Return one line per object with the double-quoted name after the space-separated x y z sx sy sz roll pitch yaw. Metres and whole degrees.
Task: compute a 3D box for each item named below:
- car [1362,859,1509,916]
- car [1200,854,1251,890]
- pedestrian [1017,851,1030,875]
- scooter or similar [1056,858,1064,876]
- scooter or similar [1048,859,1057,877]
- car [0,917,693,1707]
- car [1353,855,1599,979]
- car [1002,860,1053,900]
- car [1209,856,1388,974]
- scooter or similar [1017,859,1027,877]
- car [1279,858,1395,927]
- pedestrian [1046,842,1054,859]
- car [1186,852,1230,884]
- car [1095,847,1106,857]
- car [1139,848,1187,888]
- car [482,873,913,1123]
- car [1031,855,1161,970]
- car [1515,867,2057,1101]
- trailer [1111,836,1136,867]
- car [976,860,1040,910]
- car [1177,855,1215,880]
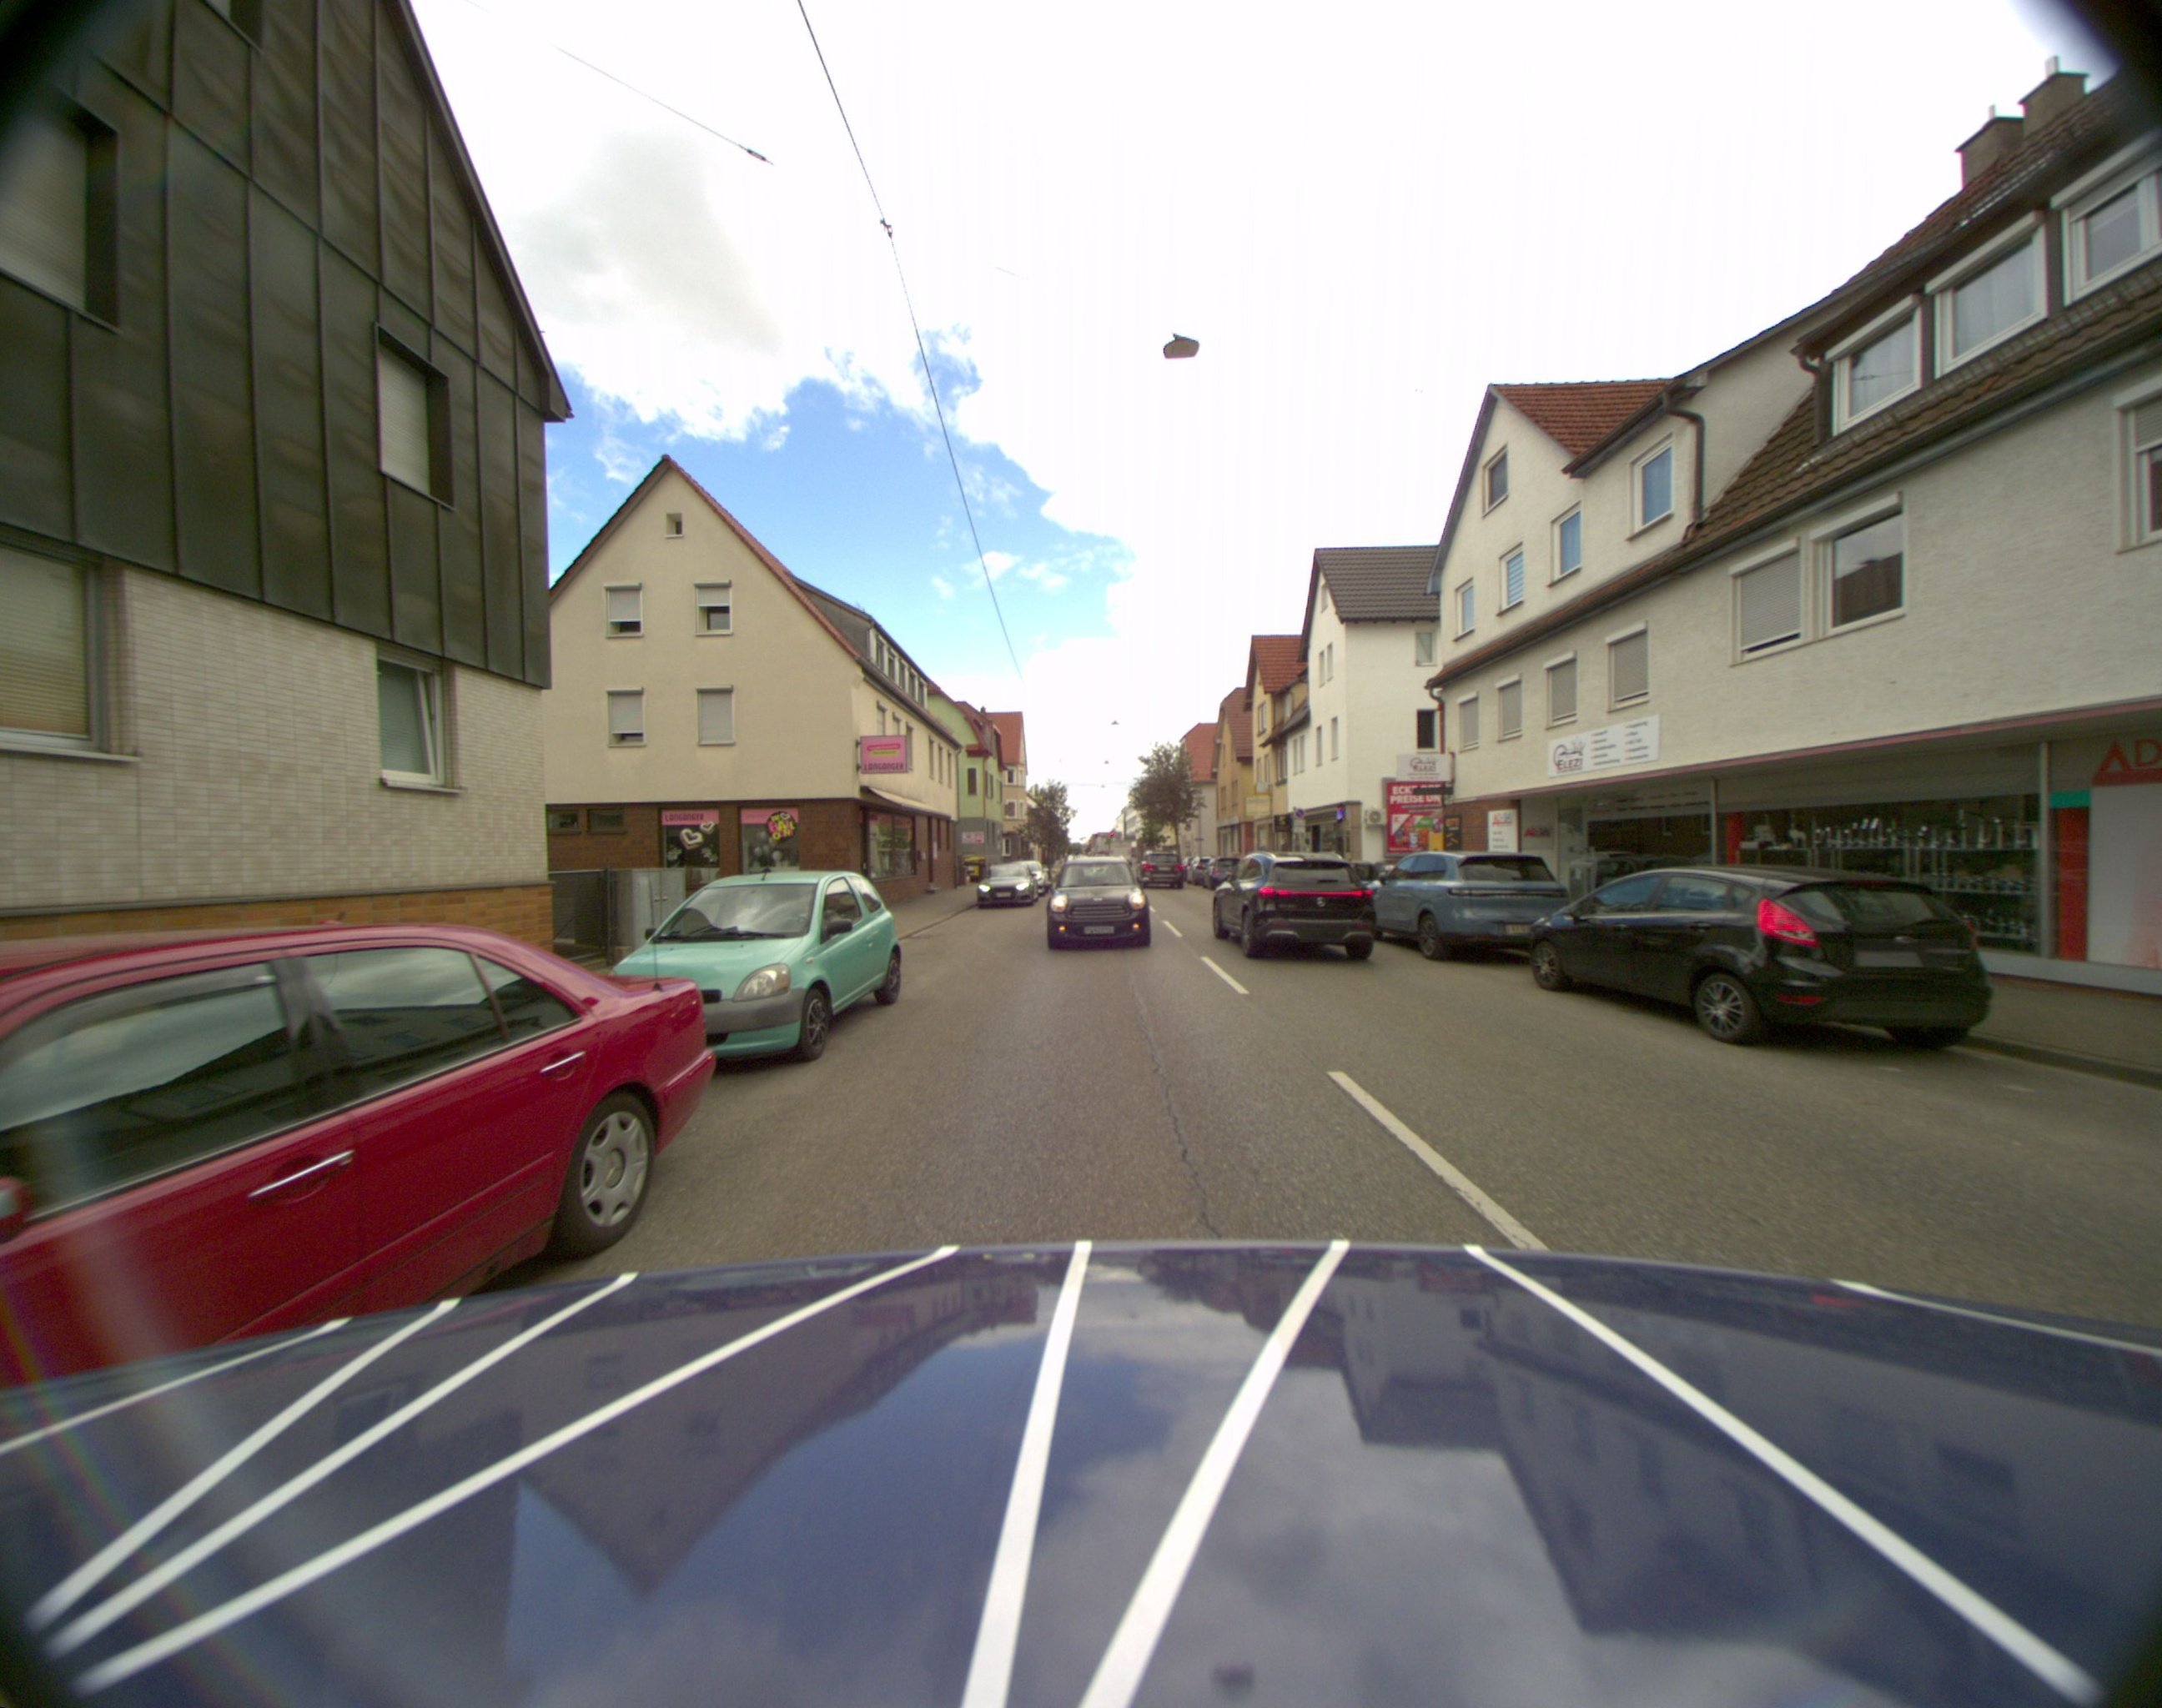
11.813 1.077 25.539 3.997 1.692 2.000 -2 1 0 "car"
6.476 0.781 34.332 1.686 1.484 3.591 1 0 2 "car"
-4.156 0.616 54.899 0.752 1.710 0.900 -2 1 1 "pedestrian"
-1.500 0.959 55.087 0.503 1.228 1.942 -2 1 0 "scooter or similar"
-2.036 0.977 55.087 0.503 1.228 1.942 -2 1 0 "scooter or similar"
-2.823 1.075 1.543 1.759 1.437 4.454 -2 0 -1 "car"
6.001 0.839 12.234 1.807 1.590 4.304 1 0 2 "car"
-2.168 1.031 31.755 1.836 1.437 4.331 -2 0 -1 "car"
3.339 0.850 12.528 1.799 1.569 4.192 1 0 1 "car"
-4.199 0.979 53.988 0.591 1.225 0.891 -2 1 0 "scooter or similar"
6.238 0.884 18.949 1.686 1.490 3.775 1 0 2 "car"
-3.750 -0.466 93.135 0.826 2.062 1.011 2 1 3 "pedestrian"
6.617 0.698 39.862 1.714 1.557 4.113 1 0 2 "car"
3.425 -0.387 133.447 1.998 1.785 4.277 0 0 1 "car"
3.835 0.608 35.993 1.905 1.727 4.366 1 0 2 "car"
-3.010 1.017 7.073 1.835 1.489 3.993 -2 0 2 "car"
0.247 0.870 13.465 1.847 1.571 4.429 -3 0 1 "car"
5.947 0.931 7.156 1.585 1.499 3.812 1 1 1 "car"
4.541 -0.336 82.255 2.509 3.201 7.134 -1 1 2 "trailer"
-2.364 0.988 25.634 1.836 1.437 4.109 -2 0 -2 "car"
6.836 0.771 45.363 1.686 1.416 3.931 1 0 0 "car"
